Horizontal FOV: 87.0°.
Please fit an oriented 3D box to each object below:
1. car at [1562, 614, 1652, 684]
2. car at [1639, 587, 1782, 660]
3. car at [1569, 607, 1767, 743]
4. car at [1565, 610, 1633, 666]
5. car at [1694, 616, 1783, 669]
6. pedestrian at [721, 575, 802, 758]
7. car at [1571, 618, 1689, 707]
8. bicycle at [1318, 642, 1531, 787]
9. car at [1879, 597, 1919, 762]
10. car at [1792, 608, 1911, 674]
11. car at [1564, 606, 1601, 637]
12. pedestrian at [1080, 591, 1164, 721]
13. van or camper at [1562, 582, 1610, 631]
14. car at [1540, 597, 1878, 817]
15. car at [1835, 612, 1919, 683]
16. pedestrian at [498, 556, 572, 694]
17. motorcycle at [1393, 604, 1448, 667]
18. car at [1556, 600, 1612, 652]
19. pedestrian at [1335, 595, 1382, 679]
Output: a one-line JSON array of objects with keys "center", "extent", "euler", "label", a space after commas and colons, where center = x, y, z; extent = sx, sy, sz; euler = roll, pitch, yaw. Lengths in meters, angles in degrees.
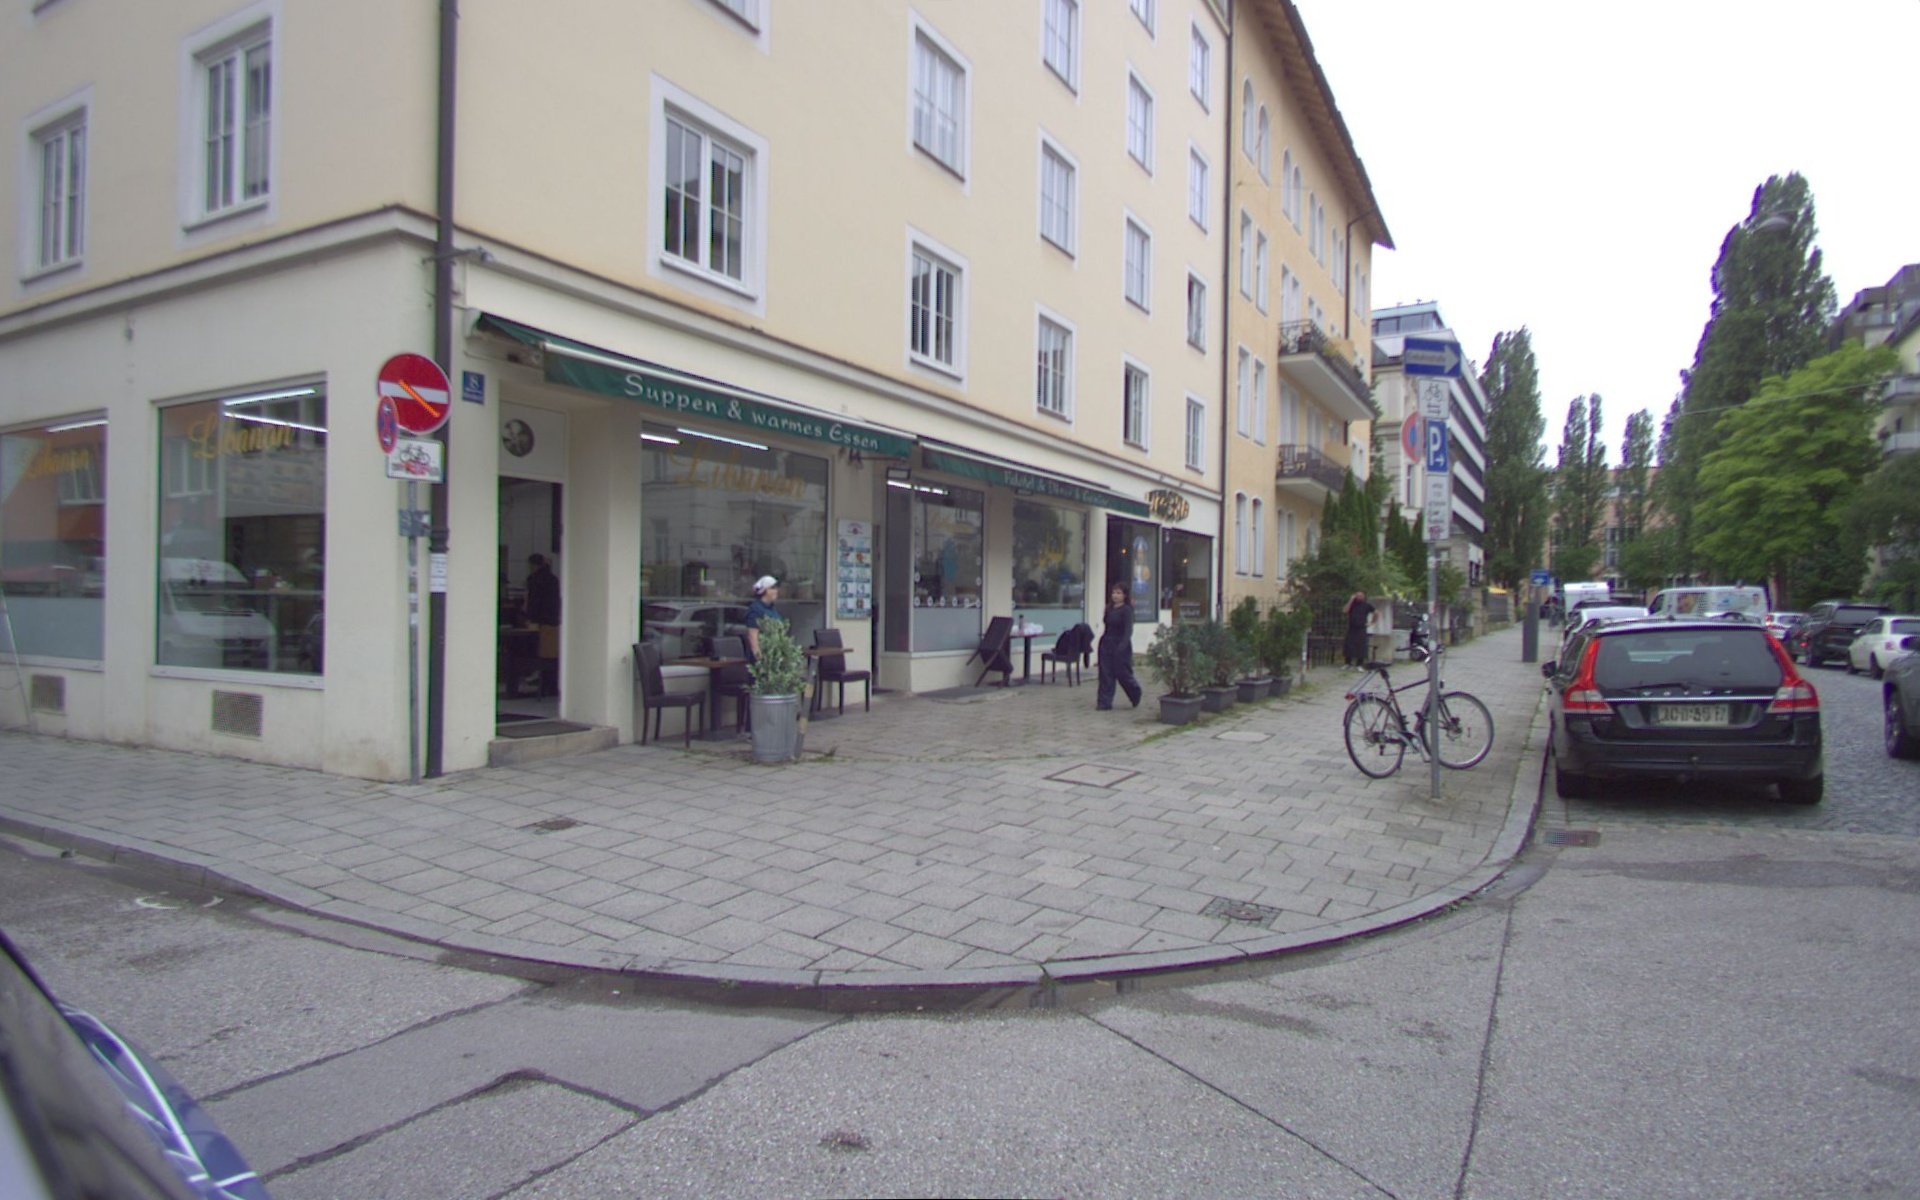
[{"center": [14.825, 1.053, 23.282], "extent": [1.614, 1.453, 3.957], "euler": [0, -1, 32], "label": "car"}, {"center": [27.301, 0.826, 37.067], "extent": [2.137, 2.494, 4.595], "euler": [0, -1, 6], "label": "car"}, {"center": [9.261, 0.890, 13.562], "extent": [1.676, 1.519, 4.222], "euler": [-2, -2, 29], "label": "car"}, {"center": [20.412, 1.157, 32.447], "extent": [1.702, 1.660, 3.958], "euler": [0, -1, 31], "label": "car"}, {"center": [21.163, 1.117, 27.612], "extent": [1.600, 1.341, 2.921], "euler": [0, -1, 32], "label": "car"}, {"center": [-1.862, 0.603, 9.545], "extent": [0.533, 1.654, 0.602], "euler": [0, -1, 15], "label": "pedestrian"}, {"center": [11.731, 1.014, 17.858], "extent": [1.588, 1.351, 3.771], "euler": [0, -1, 32], "label": "car"}, {"center": [4.145, 0.977, 9.017], "extent": [1.803, 1.178, 0.611], "euler": [1, 1, -21], "label": "bicycle"}, {"center": [9.826, 0.759, 8.708], "extent": [1.956, 1.620, 4.264], "euler": [0, -1, 30], "label": "car"}, {"center": [24.113, 1.058, 27.524], "extent": [1.702, 1.660, 3.958], "euler": [0, -1, 31], "label": "car"}, {"center": [35.536, 1.203, 57.821], "extent": [1.702, 1.660, 3.958], "euler": [0, -1, 31], "label": "car"}, {"center": [2.066, 0.680, 12.856], "extent": [0.746, 1.563, 0.844], "euler": [3, 1, 30], "label": "pedestrian"}, {"center": [39.151, 0.435, 63.372], "extent": [2.419, 2.957, 5.316], "euler": [0, -1, 31], "label": "van or camper"}, {"center": [6.543, 0.811, 9.380], "extent": [1.895, 1.527, 4.304], "euler": [-4, -2, 29], "label": "car"}, {"center": [22.002, 1.059, 23.684], "extent": [1.682, 1.545, 3.828], "euler": [0, -1, 31], "label": "car"}, {"center": [-5.584, 0.334, 13.293], "extent": [0.746, 1.738, 0.772], "euler": [2, -2, -30], "label": "pedestrian"}, {"center": [11.443, 0.881, 25.091], "extent": [0.960, 1.473, 2.859], "euler": [0, -2, 30], "label": "motorcycle"}, {"center": [23.528, 0.959, 38.267], "extent": [1.702, 1.874, 3.958], "euler": [0, -1, 31], "label": "car"}, {"center": [8.220, 0.741, 20.864], "extent": [0.731, 1.669, 0.783], "euler": [2, 1, 31], "label": "pedestrian"}]
